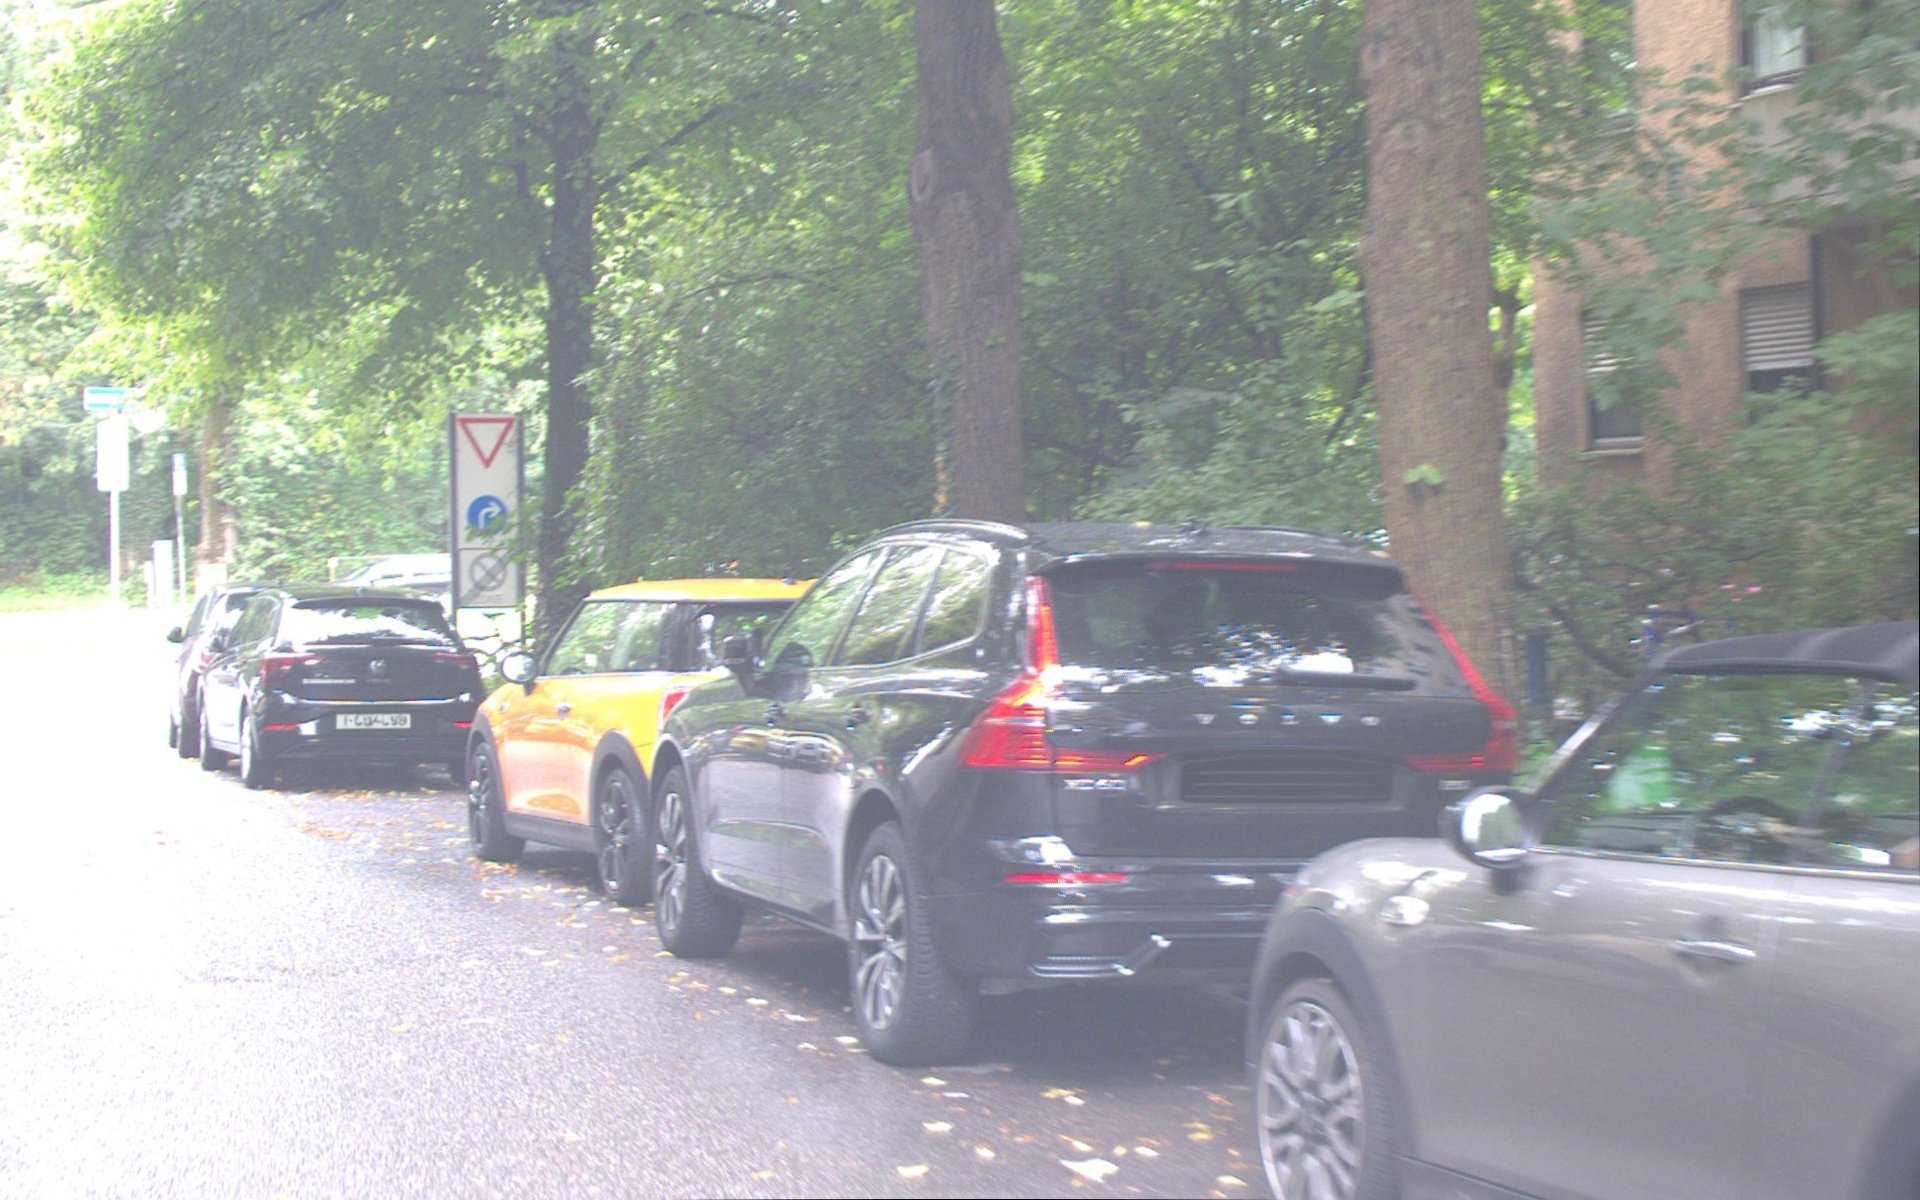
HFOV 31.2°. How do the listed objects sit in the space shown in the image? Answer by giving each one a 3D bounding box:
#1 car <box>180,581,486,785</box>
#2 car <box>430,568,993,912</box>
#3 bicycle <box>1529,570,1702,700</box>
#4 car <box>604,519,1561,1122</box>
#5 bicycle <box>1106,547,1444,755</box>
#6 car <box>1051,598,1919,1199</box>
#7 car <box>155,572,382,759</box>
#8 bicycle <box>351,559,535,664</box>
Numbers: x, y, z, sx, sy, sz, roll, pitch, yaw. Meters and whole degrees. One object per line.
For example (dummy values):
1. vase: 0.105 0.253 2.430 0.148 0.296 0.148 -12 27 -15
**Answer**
1. car: -4.774 0.559 25.771 1.681 1.353 4.010 0 1 -19
2. car: -1.314 0.570 16.536 1.618 1.407 3.781 -1 1 -22
3. bicycle: 5.508 0.280 28.982 0.554 1.040 1.837 -1 1 -20
4. car: 0.158 0.554 11.730 1.831 1.623 4.527 -1 1 -18
5. bicycle: 1.756 0.263 19.055 1.829 1.080 0.547 -2 1 -26
6. car: 1.863 0.747 6.949 1.898 1.408 4.431 -2 1 -19
7. car: -6.049 0.516 29.833 1.647 1.469 3.644 -1 1 -16
8. bicycle: -5.059 0.111 33.658 1.751 0.978 0.273 -1 1 -9
